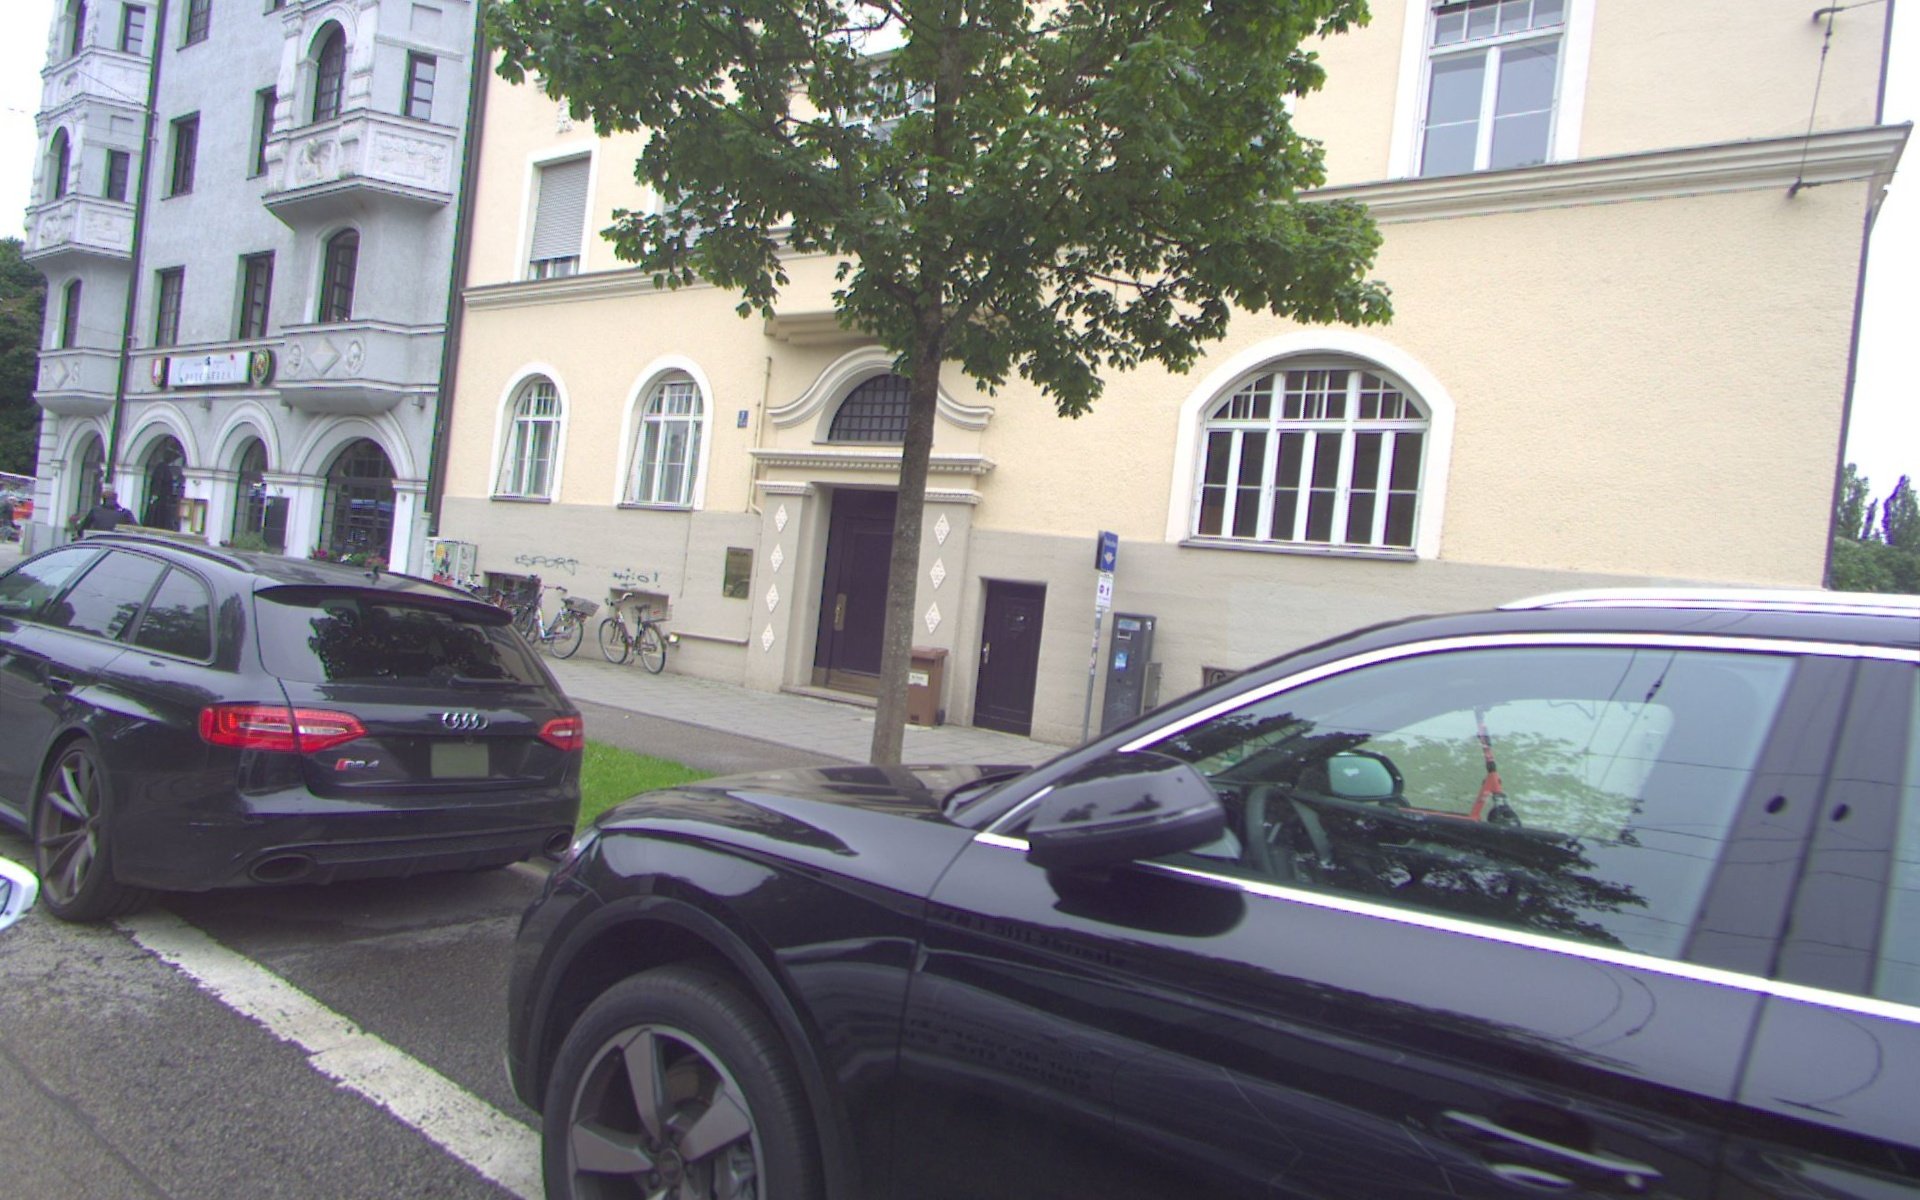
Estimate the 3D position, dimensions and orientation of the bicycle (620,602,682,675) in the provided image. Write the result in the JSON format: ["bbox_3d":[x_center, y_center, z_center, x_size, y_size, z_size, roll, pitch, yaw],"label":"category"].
[{"bbox_3d":[-4.492,0.554,14.599,0.871,0.941,0.222,6,-1,31],"label":"bicycle"}]

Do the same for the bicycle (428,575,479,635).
[{"bbox_3d":[-8.756,0.087,17.381,0.871,0.941,0.291,6,-2,33],"label":"bicycle"}]

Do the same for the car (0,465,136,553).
[{"bbox_3d":[-35.415,-3.560,38.524,2.192,2.642,5.311,6,-3,29],"label":"car"}]

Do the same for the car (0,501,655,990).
[{"bbox_3d":[-3.841,0.377,5.039,4.525,1.442,1.720,6,-2,31],"label":"car"}]

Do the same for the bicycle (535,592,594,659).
[{"bbox_3d":[-6.123,0.392,15.555,0.871,0.941,0.285,6,-2,33],"label":"bicycle"}]

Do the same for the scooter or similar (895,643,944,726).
[{"bbox_3d":[-0.481,1.009,12.067,0.413,0.921,0.348,7,-1,11],"label":"scooter or similar"}]

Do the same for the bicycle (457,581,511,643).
[{"bbox_3d":[-7.978,0.197,16.853,0.871,0.941,0.306,6,-2,34],"label":"bicycle"}]

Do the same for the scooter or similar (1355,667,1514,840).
[{"bbox_3d":[4.188,1.330,8.910,1.122,1.328,0.262,6,-1,27],"label":"scooter or similar"}]

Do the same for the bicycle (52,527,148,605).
[{"bbox_3d":[-13.999,-0.565,16.364,1.880,1.093,0.579,6,2,31],"label":"bicycle"}]

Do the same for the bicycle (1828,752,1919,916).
[{"bbox_3d":[7.393,1.796,7.393,1.417,1.119,0.287,7,0,25],"label":"bicycle"}]

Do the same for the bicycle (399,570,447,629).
[{"bbox_3d":[-9.534,-0.010,17.866,0.871,0.941,0.259,6,-2,33],"label":"bicycle"}]

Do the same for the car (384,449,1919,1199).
[{"bbox_3d":[1.055,0.758,1.953,4.414,1.677,1.777,6,-2,32],"label":"car"}]

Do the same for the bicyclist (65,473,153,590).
[{"bbox_3d":[-13.780,-1.109,16.294,0.714,1.749,0.726,6,-2,31],"label":"bicyclist"}]

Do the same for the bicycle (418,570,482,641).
[{"bbox_3d":[-8.484,0.090,16.712,1.203,1.051,0.242,6,-2,32],"label":"bicycle"}]

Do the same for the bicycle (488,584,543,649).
[{"bbox_3d":[-7.202,0.264,16.299,0.871,0.941,0.273,6,-2,33],"label":"bicycle"}]
